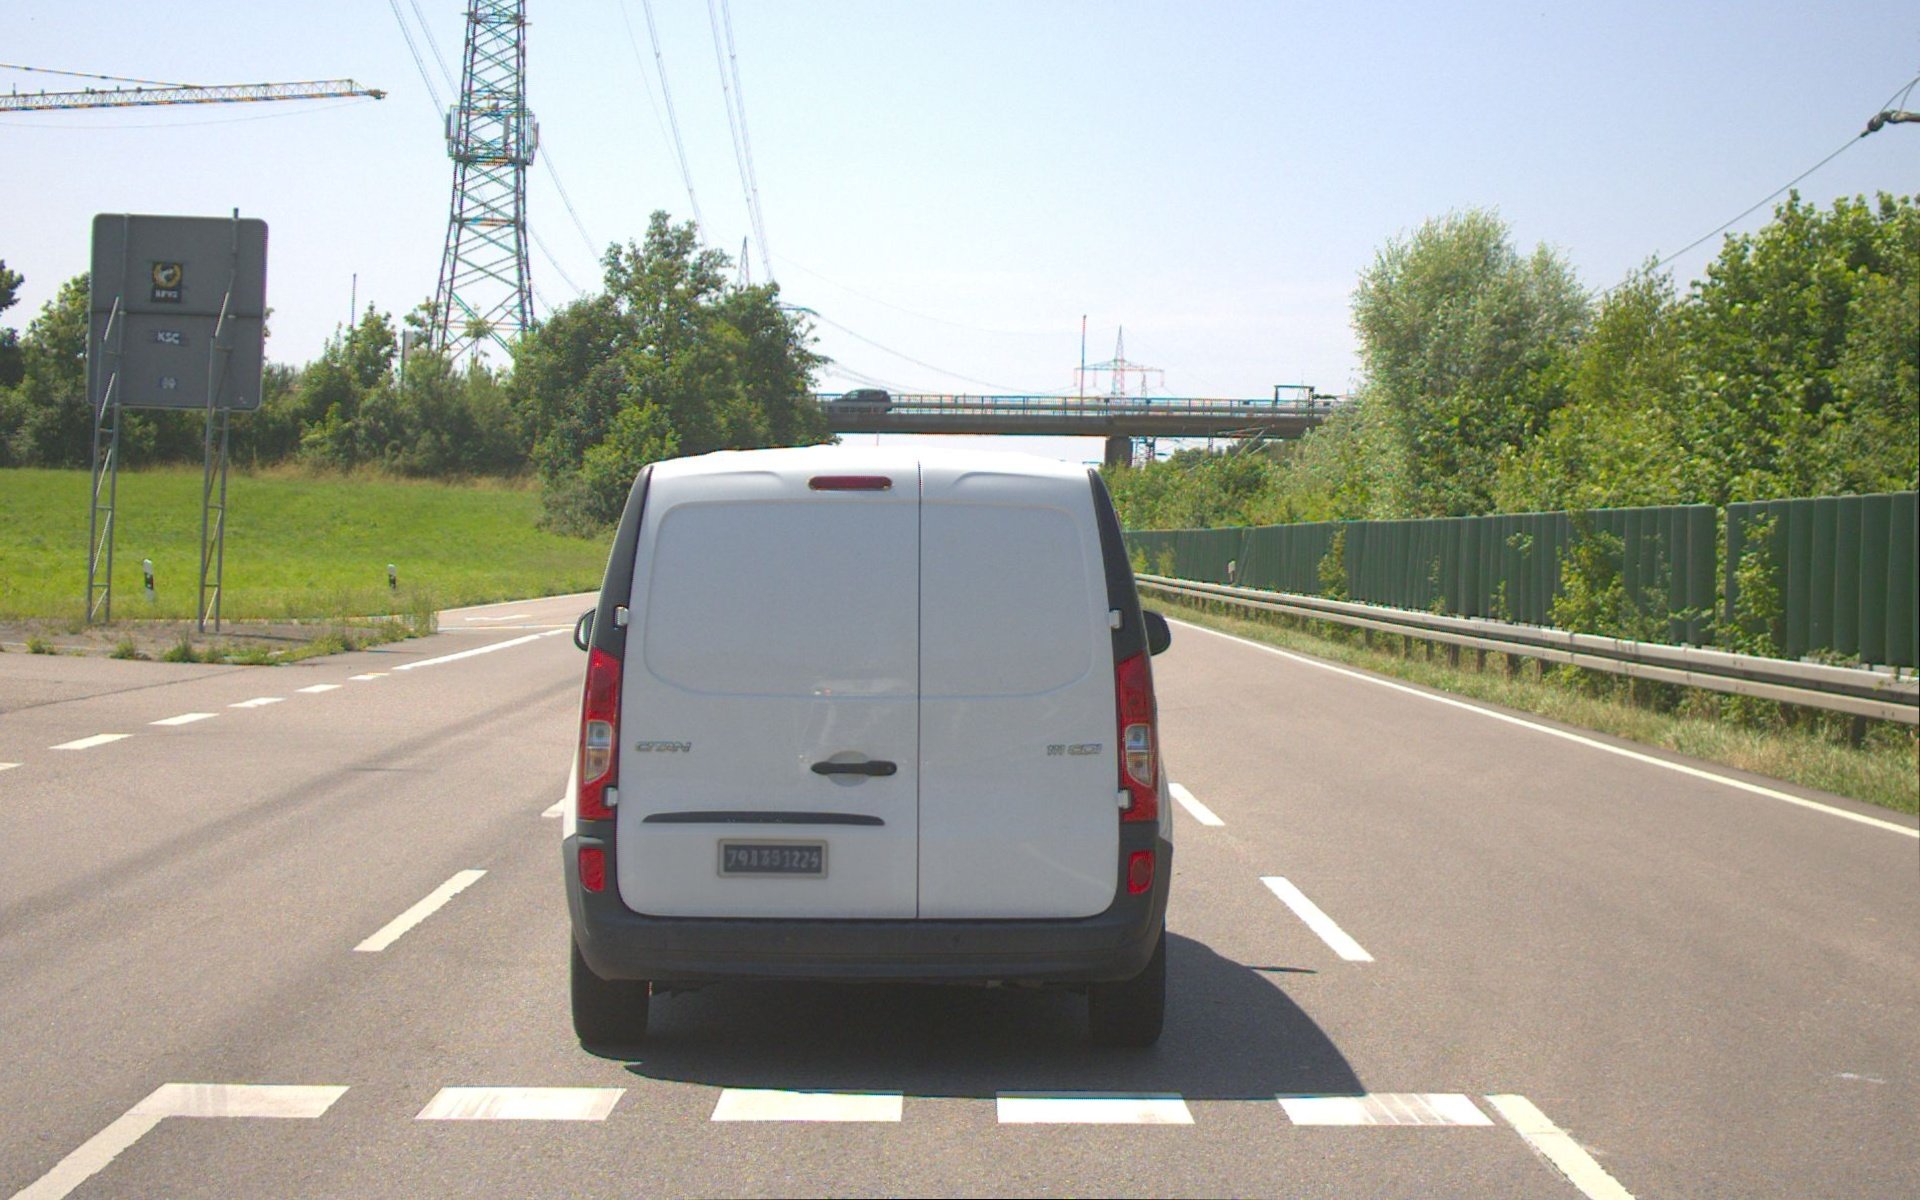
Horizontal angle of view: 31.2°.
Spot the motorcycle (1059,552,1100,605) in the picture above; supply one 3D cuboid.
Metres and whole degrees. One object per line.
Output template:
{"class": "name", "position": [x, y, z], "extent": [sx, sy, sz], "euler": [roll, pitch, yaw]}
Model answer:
{"class": "motorcycle", "position": [2.723, -0.496, 78.654], "extent": [0.790, 1.153, 1.901], "euler": [1, 1, -2]}

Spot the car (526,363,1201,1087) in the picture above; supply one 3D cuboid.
{"class": "car", "position": [-0.293, 0.306, 11.424], "extent": [1.827, 1.964, 4.000], "euler": [1, 1, -1]}

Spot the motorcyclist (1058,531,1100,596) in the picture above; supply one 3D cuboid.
{"class": "motorcyclist", "position": [2.714, -0.837, 78.635], "extent": [0.889, 1.471, 1.002], "euler": [1, 1, -1]}
